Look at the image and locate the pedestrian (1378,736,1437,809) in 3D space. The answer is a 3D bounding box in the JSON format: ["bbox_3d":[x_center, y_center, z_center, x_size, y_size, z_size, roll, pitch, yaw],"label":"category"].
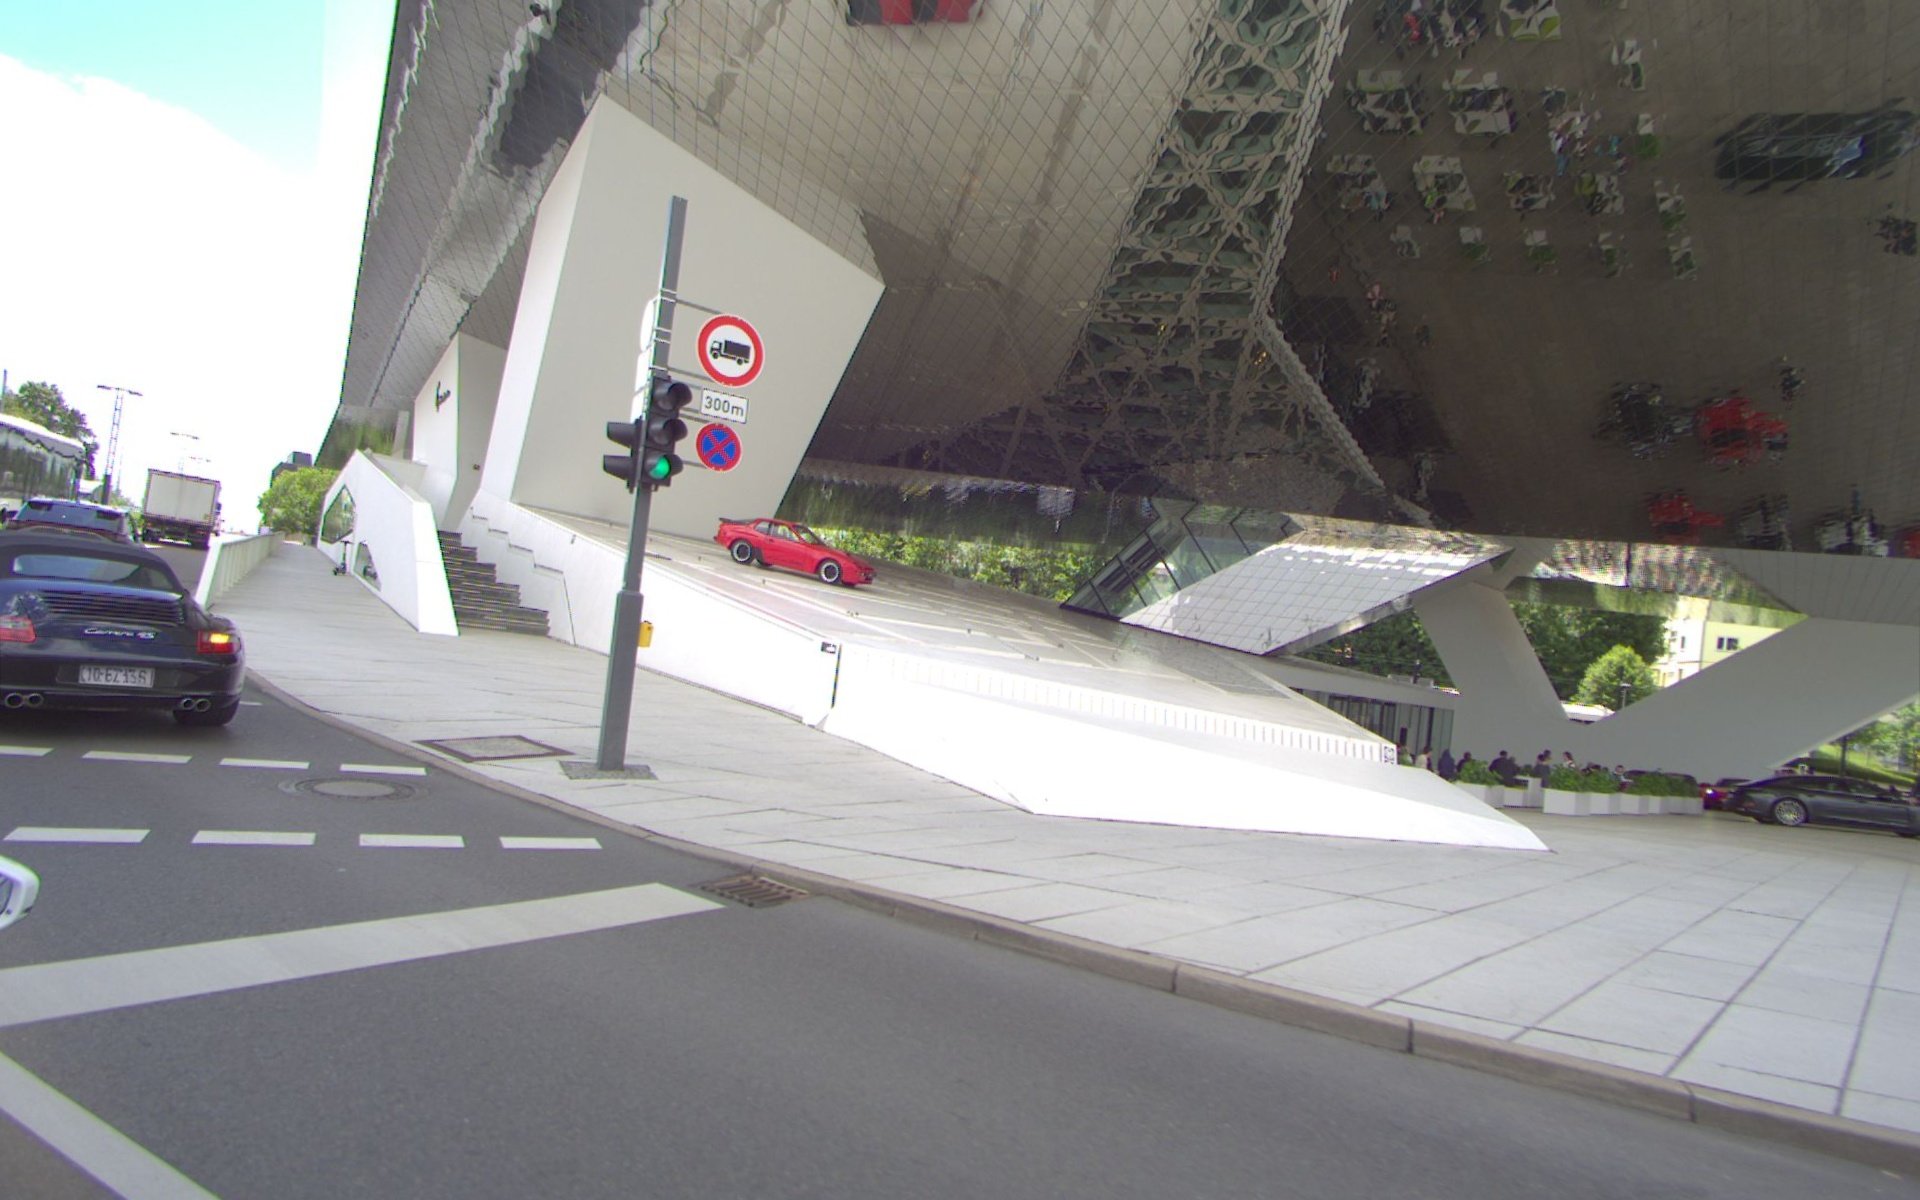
[{"bbox_3d":[10.946,4.211,24.626,0.907,1.589,0.831,8,-4,-7],"label":"pedestrian"}]

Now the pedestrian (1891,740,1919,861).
[{"bbox_3d":[15.493,3.232,15.964,0.826,1.845,0.913,10,-5,-42],"label":"pedestrian"}]

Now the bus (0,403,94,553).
[{"bbox_3d":[-25.217,-3.217,25.355,3.055,3.400,12.114,10,-1,-33],"label":"bus"}]

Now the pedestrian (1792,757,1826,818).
[{"bbox_3d":[30.306,6.675,35.917,0.765,2.034,0.826,4,-5,38],"label":"pedestrian"}]

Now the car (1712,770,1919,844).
[{"bbox_3d":[23.158,5.517,26.785,4.594,1.233,2.003,5,-5,24],"label":"car"}]

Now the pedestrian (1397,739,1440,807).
[{"bbox_3d":[11.690,4.400,25.644,0.781,1.589,0.695,6,-4,18],"label":"pedestrian"}]

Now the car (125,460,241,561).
[{"bbox_3d":[-37.079,-4.054,48.356,3.317,3.540,9.267,10,-5,-33],"label":"car"}]

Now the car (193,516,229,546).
[{"bbox_3d":[-61.476,-5.605,82.507,1.987,1.923,3.960,11,-6,-39],"label":"car"}]

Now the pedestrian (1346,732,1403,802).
[{"bbox_3d":[10.576,4.255,25.697,0.907,1.589,0.831,8,-4,-7],"label":"pedestrian"}]

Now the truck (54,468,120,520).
[{"bbox_3d":[-71.917,-8.643,83.078,2.181,2.991,8.891,10,-5,-30],"label":"truck"}]

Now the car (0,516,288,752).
[{"bbox_3d":[-7.120,0.104,7.663,3.935,1.340,1.837,8,-2,33],"label":"car"}]

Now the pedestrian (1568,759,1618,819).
[{"bbox_3d":[18.787,5.593,29.850,0.824,1.589,0.915,10,-5,-36],"label":"pedestrian"}]

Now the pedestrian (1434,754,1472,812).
[{"bbox_3d":[12.391,4.593,25.294,0.632,1.332,0.695,6,-4,15],"label":"pedestrian"}]

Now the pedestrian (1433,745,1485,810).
[{"bbox_3d":[13.481,4.800,27.184,0.826,1.589,0.913,11,-5,-42],"label":"pedestrian"}]

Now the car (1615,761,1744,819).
[{"bbox_3d":[27.555,7.263,38.530,3.942,1.565,1.996,9,-5,-17],"label":"car"}]

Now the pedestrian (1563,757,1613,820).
[{"bbox_3d":[17.665,5.306,28.282,0.826,1.589,0.913,11,-5,-42],"label":"pedestrian"}]

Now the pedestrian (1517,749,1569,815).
[{"bbox_3d":[15.680,4.897,27.067,0.826,1.589,0.913,11,-5,-42],"label":"pedestrian"}]

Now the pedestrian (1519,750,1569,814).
[{"bbox_3d":[16.285,5.072,28.055,0.826,1.589,0.913,11,-5,-42],"label":"pedestrian"}]

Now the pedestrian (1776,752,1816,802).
[{"bbox_3d":[32.295,6.830,38.876,0.812,1.757,0.778,7,-4,6],"label":"pedestrian"}]

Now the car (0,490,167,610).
[{"bbox_3d":[-15.825,-0.920,18.112,1.984,1.655,3.962,10,-2,-35],"label":"car"}]

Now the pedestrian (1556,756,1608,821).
[{"bbox_3d":[16.909,5.123,27.339,0.826,1.589,0.913,11,-5,-42],"label":"pedestrian"}]

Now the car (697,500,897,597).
[{"bbox_3d":[-4.109,-1.291,25.656,4.429,1.412,2.000,13,2,13],"label":"car"}]

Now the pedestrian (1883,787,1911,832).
[{"bbox_3d":[39.663,8.874,42.597,0.766,1.757,0.825,4,-5,41],"label":"pedestrian"}]

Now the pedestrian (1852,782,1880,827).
[{"bbox_3d":[39.107,8.813,43.407,0.766,1.757,0.825,4,-5,40],"label":"pedestrian"}]
